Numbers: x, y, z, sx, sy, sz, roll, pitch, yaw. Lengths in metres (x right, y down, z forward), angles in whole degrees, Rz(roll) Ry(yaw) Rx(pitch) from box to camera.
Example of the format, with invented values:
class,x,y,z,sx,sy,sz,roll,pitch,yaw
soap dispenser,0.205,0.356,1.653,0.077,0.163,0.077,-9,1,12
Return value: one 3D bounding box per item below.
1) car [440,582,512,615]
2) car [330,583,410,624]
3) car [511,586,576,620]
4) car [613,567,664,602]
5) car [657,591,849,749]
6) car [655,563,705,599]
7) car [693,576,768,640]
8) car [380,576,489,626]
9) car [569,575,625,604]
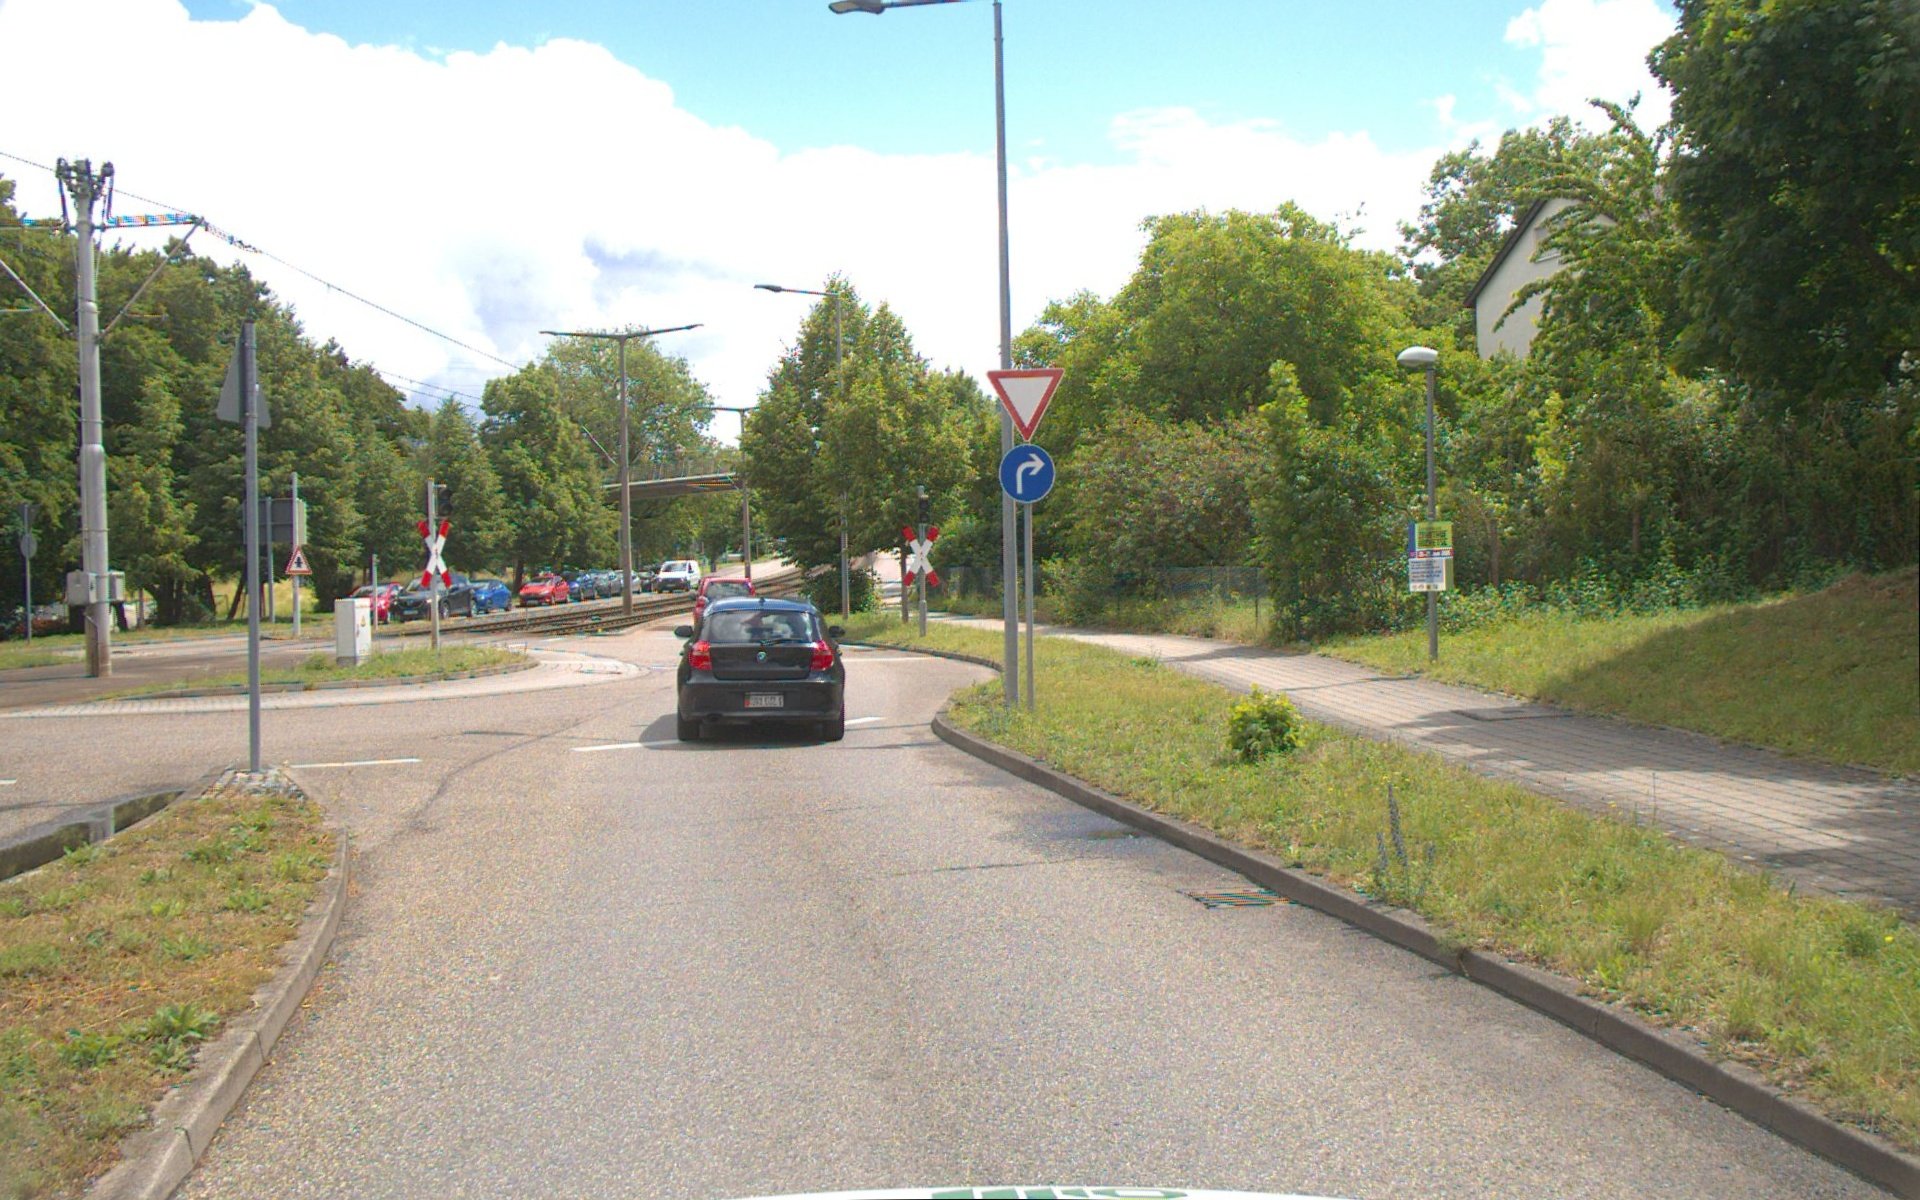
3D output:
class,x,y,z,sx,sy,sz,roll,pitch,yaw
car,-20.732,-0.074,70.925,1.768,1.276,3.571,-1,2,5
car,-21.349,0.103,59.997,1.496,1.394,3.598,-1,1,2
car,-20.450,0.114,81.325,1.872,1.588,4.002,-1,0,4
car,-20.013,-0.995,103.118,1.951,2.048,4.003,-1,1,6
car,-2.213,0.693,17.814,1.781,1.445,3.993,-2,-1,-7
car,-16.613,-1.122,98.274,1.951,2.049,4.002,-1,1,4
car,-5.684,0.189,40.915,1.733,1.457,3.472,-2,0,-8
car,-18.294,0.003,57.819,1.951,1.625,4.423,-1,1,6
car,-20.143,-0.596,91.978,1.951,1.499,4.002,-1,1,4
